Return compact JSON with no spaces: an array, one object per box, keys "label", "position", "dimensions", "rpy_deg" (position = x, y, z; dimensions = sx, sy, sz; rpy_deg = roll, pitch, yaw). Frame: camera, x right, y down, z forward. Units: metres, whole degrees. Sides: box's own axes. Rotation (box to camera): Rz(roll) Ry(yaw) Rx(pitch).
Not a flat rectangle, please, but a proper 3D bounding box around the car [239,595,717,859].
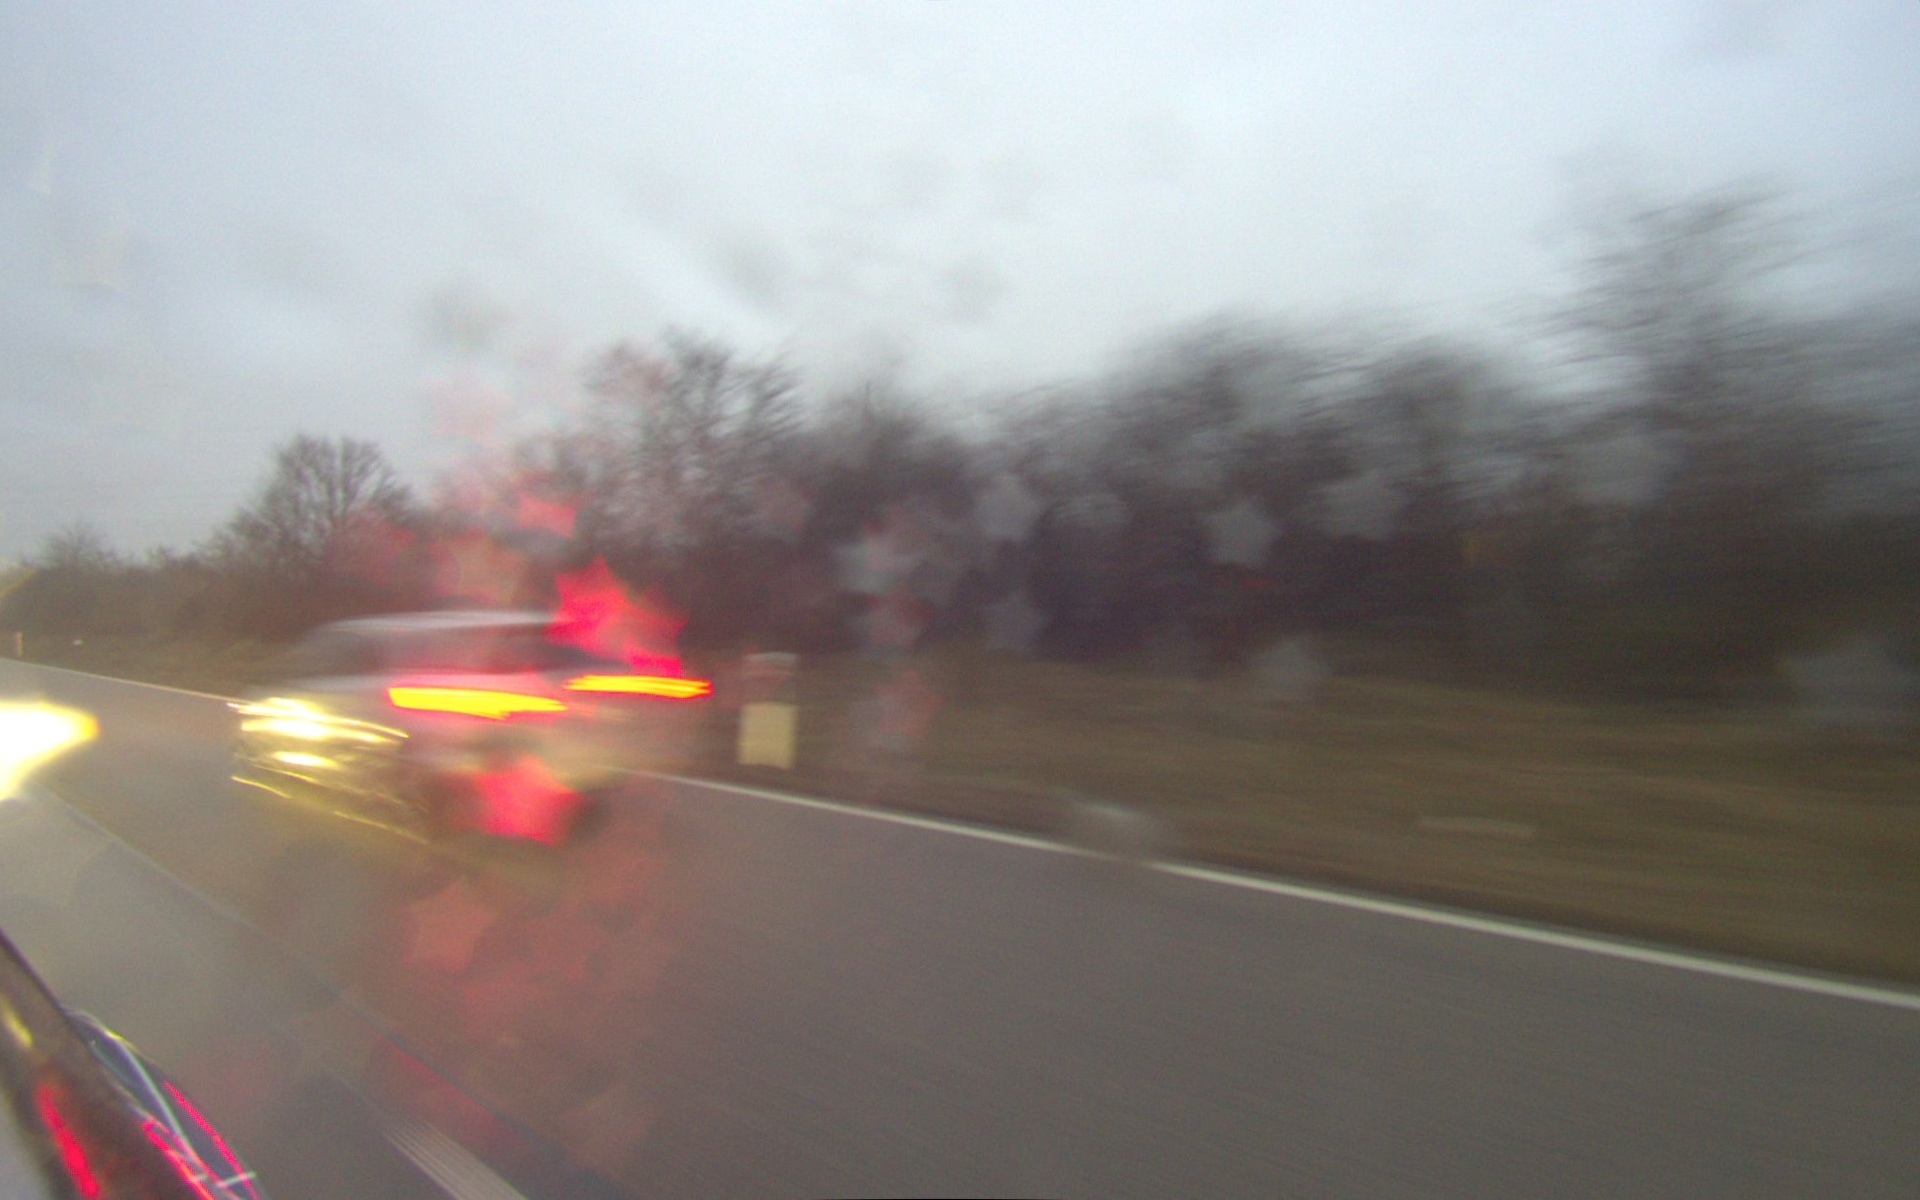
[{"label":"car","position":[-3.875,0.761,7.819],"dimensions":[4.092,1.510,1.807],"rpy_deg":[-1,-1,40]}]
